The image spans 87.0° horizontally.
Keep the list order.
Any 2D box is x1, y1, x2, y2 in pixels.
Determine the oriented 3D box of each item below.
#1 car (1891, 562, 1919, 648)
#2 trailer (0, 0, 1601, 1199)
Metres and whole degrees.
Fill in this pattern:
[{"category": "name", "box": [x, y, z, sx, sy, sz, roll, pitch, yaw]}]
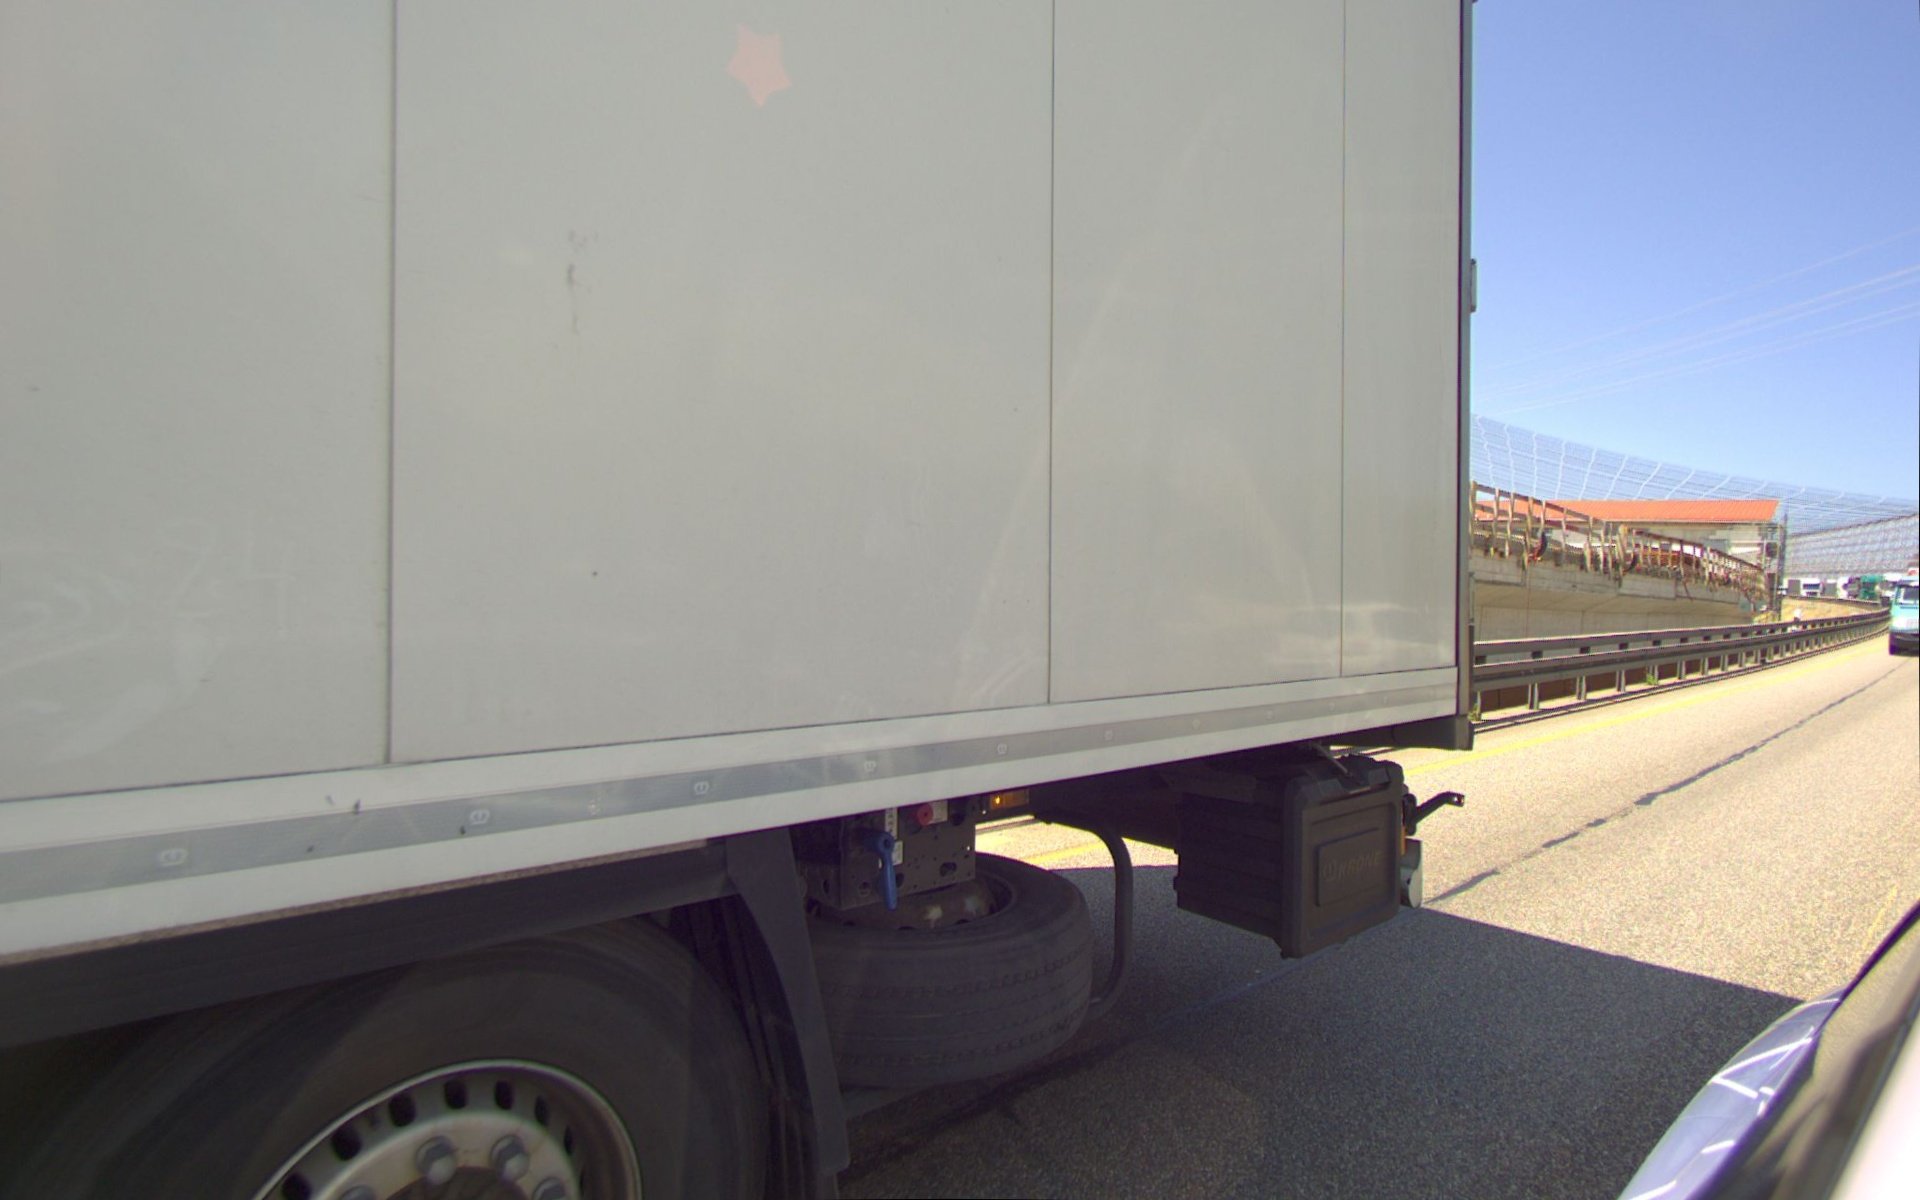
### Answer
[{"category": "car", "box": [28.953, 0.118, 29.390, 6.784, 2.355, 2.215, -1, 1, -42]}, {"category": "trailer", "box": [-2.695, -0.824, 1.080, 11.346, 4.179, 2.536, -1, 0, -41]}]
